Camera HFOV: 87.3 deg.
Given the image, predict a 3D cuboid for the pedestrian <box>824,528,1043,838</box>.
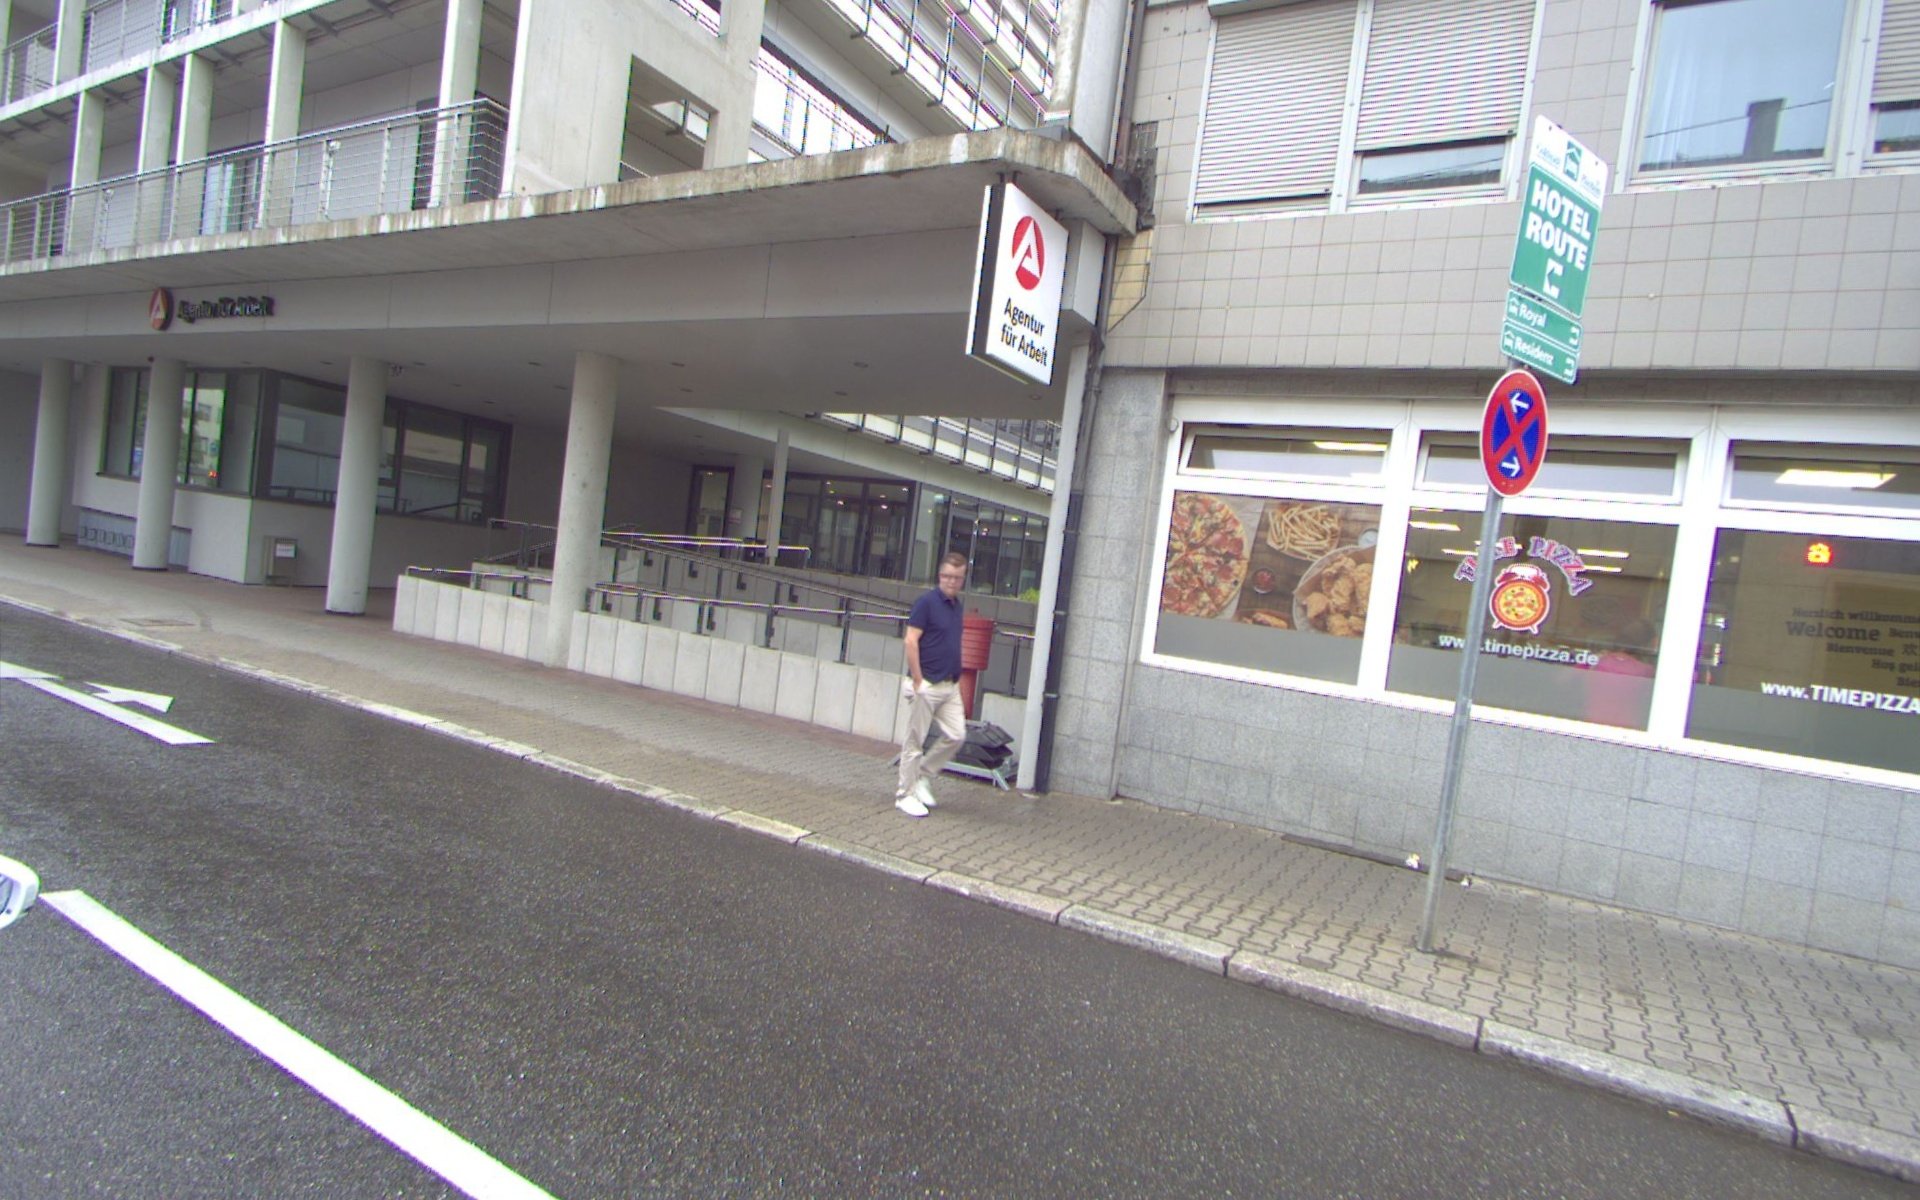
[{"bbox_3d":[-0.184,0.500,6.904,1.101,1.893,0.868,6,5,32],"label":"pedestrian"}]
